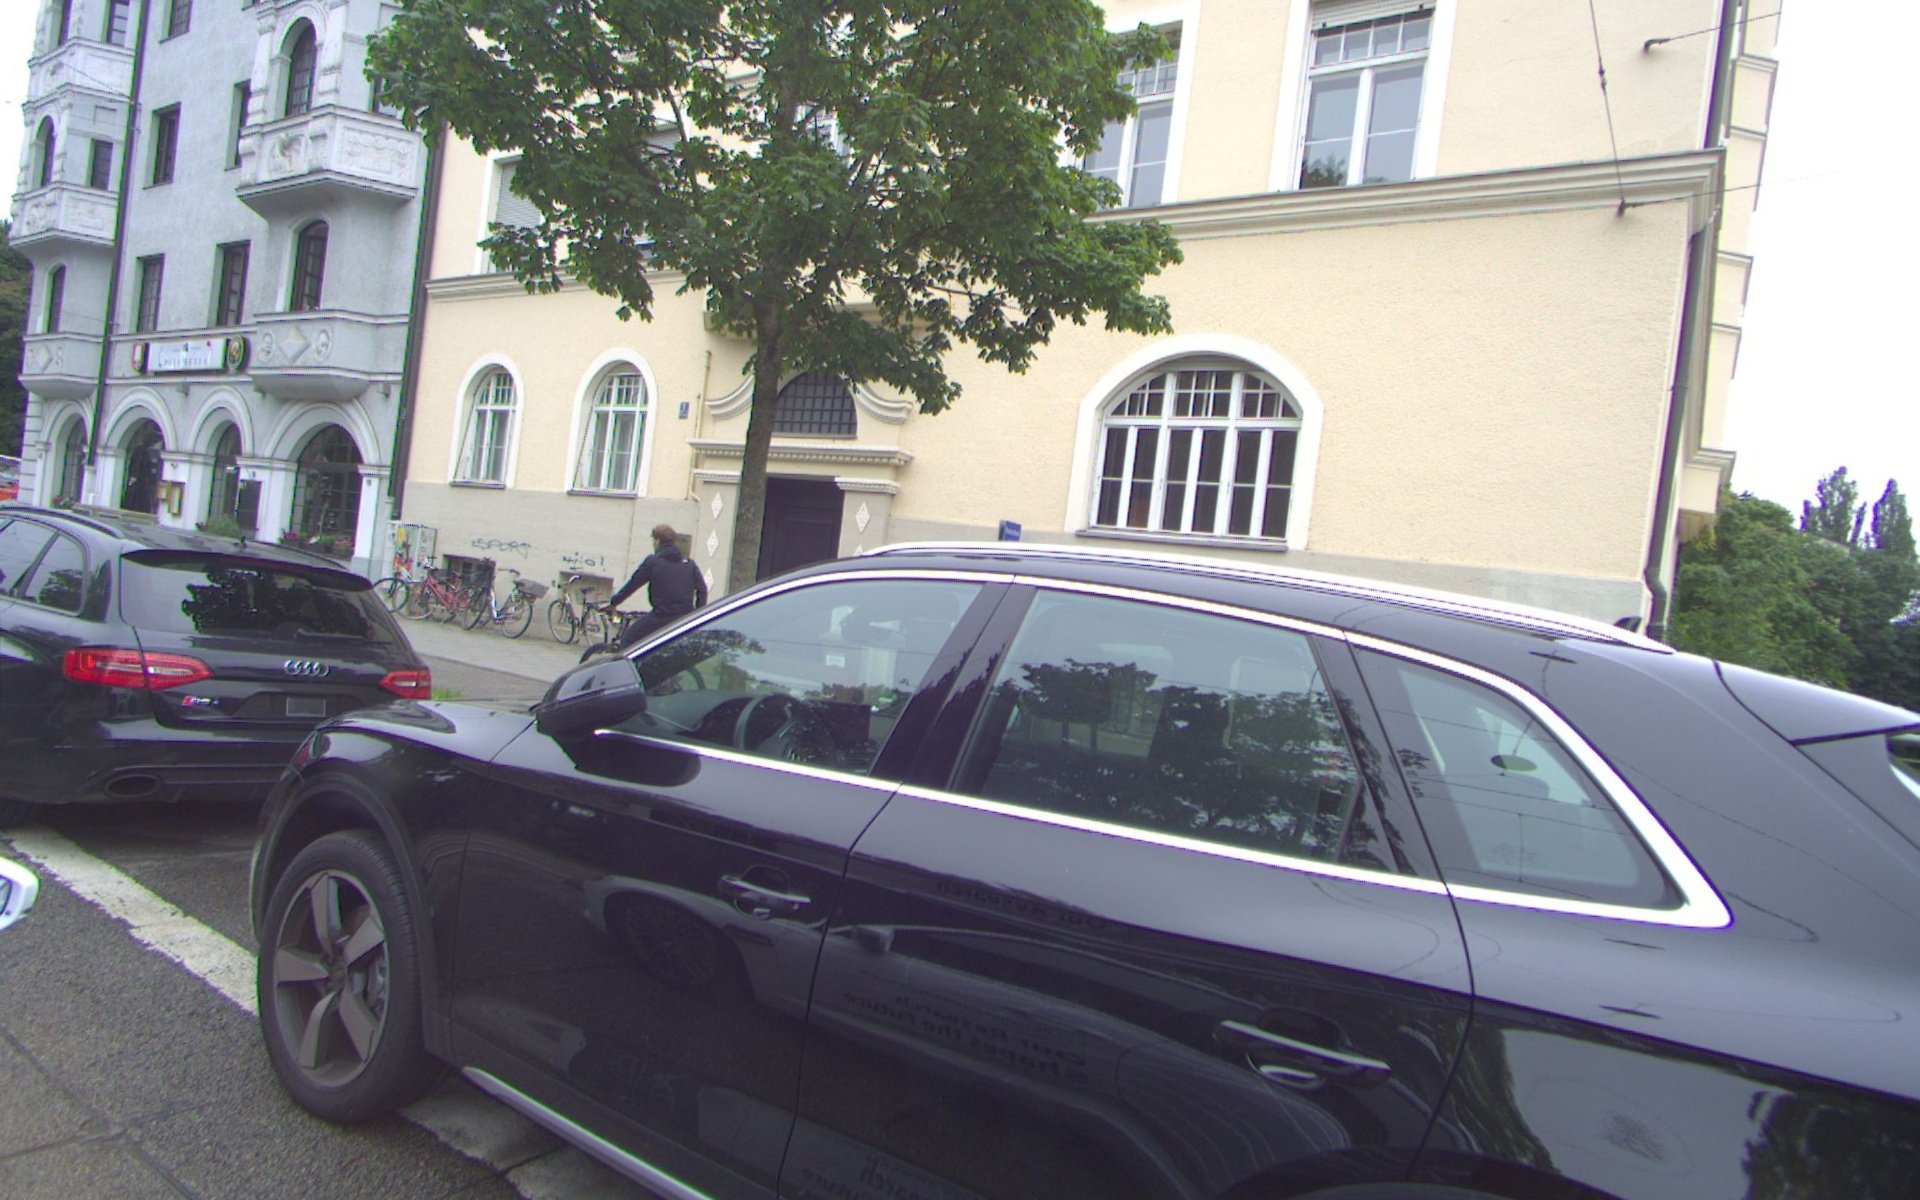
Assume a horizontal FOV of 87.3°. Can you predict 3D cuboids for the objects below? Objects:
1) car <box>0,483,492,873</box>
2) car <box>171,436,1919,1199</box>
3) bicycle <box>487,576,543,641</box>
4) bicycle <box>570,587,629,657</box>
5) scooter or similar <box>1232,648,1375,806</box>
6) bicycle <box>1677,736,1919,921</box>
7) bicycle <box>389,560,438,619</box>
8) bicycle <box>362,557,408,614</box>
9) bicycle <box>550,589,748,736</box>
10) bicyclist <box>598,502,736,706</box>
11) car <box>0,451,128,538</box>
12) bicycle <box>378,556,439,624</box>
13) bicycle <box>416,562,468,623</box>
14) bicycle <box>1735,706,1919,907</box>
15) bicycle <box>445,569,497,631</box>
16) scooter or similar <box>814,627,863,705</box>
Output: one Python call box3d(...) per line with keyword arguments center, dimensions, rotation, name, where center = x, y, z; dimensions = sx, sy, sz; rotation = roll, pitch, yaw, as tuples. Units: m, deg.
box3d(center=(-4.892, 0.173, 5.693), dimensions=(4.525, 1.442, 1.720), rotation=(7, -2, 31), name="car")
box3d(center=(0.122, 0.663, 2.506), dimensions=(4.414, 1.677, 1.777), rotation=(7, -2, 32), name="car")
box3d(center=(-7.175, 0.129, 16.220), dimensions=(0.871, 0.941, 0.285), rotation=(7, -1, 33), name="bicycle")
box3d(center=(-5.456, 0.331, 15.209), dimensions=(0.871, 0.941, 0.222), rotation=(7, -1, 31), name="bicycle")
box3d(center=(3.282, 1.193, 9.646), dimensions=(1.123, 1.328, 0.262), rotation=(7, -1, 31), name="scooter or similar")
box3d(center=(6.551, 1.745, 7.855), dimensions=(1.417, 1.119, 0.287), rotation=(7, 0, 24), name="bicycle")
box3d(center=(-9.807, -0.194, 18.043), dimensions=(0.871, 0.941, 0.291), rotation=(7, -1, 33), name="bicycle")
box3d(center=(-10.588, -0.266, 18.527), dimensions=(0.871, 0.941, 0.259), rotation=(7, -1, 33), name="bicycle")
box3d(center=(-2.937, 0.545, 9.414), dimensions=(1.880, 1.093, 0.579), rotation=(7, 2, 31), name="bicycle")
box3d(center=(-2.704, 0.049, 9.323), dimensions=(0.714, 1.749, 0.726), rotation=(7, -1, 31), name="bicyclist")
box3d(center=(-36.441, -4.237, 39.378), dimensions=(2.192, 2.642, 5.311), rotation=(7, -2, 29), name="car")
box3d(center=(-9.536, -0.184, 17.374), dimensions=(1.203, 1.051, 0.242), rotation=(7, -1, 32), name="bicycle")
box3d(center=(-9.022, -0.134, 17.517), dimensions=(0.871, 0.941, 0.306), rotation=(7, -1, 34), name="bicycle")
box3d(center=(6.987, 1.591, 7.701), dimensions=(1.511, 1.327, 0.332), rotation=(7, -1, 30), name="bicycle")
box3d(center=(-8.254, -0.005, 16.962), dimensions=(0.871, 0.941, 0.273), rotation=(7, -1, 33), name="bicycle")
box3d(center=(-1.531, 0.835, 12.712), dimensions=(0.413, 0.921, 0.348), rotation=(8, -1, 11), name="scooter or similar")
